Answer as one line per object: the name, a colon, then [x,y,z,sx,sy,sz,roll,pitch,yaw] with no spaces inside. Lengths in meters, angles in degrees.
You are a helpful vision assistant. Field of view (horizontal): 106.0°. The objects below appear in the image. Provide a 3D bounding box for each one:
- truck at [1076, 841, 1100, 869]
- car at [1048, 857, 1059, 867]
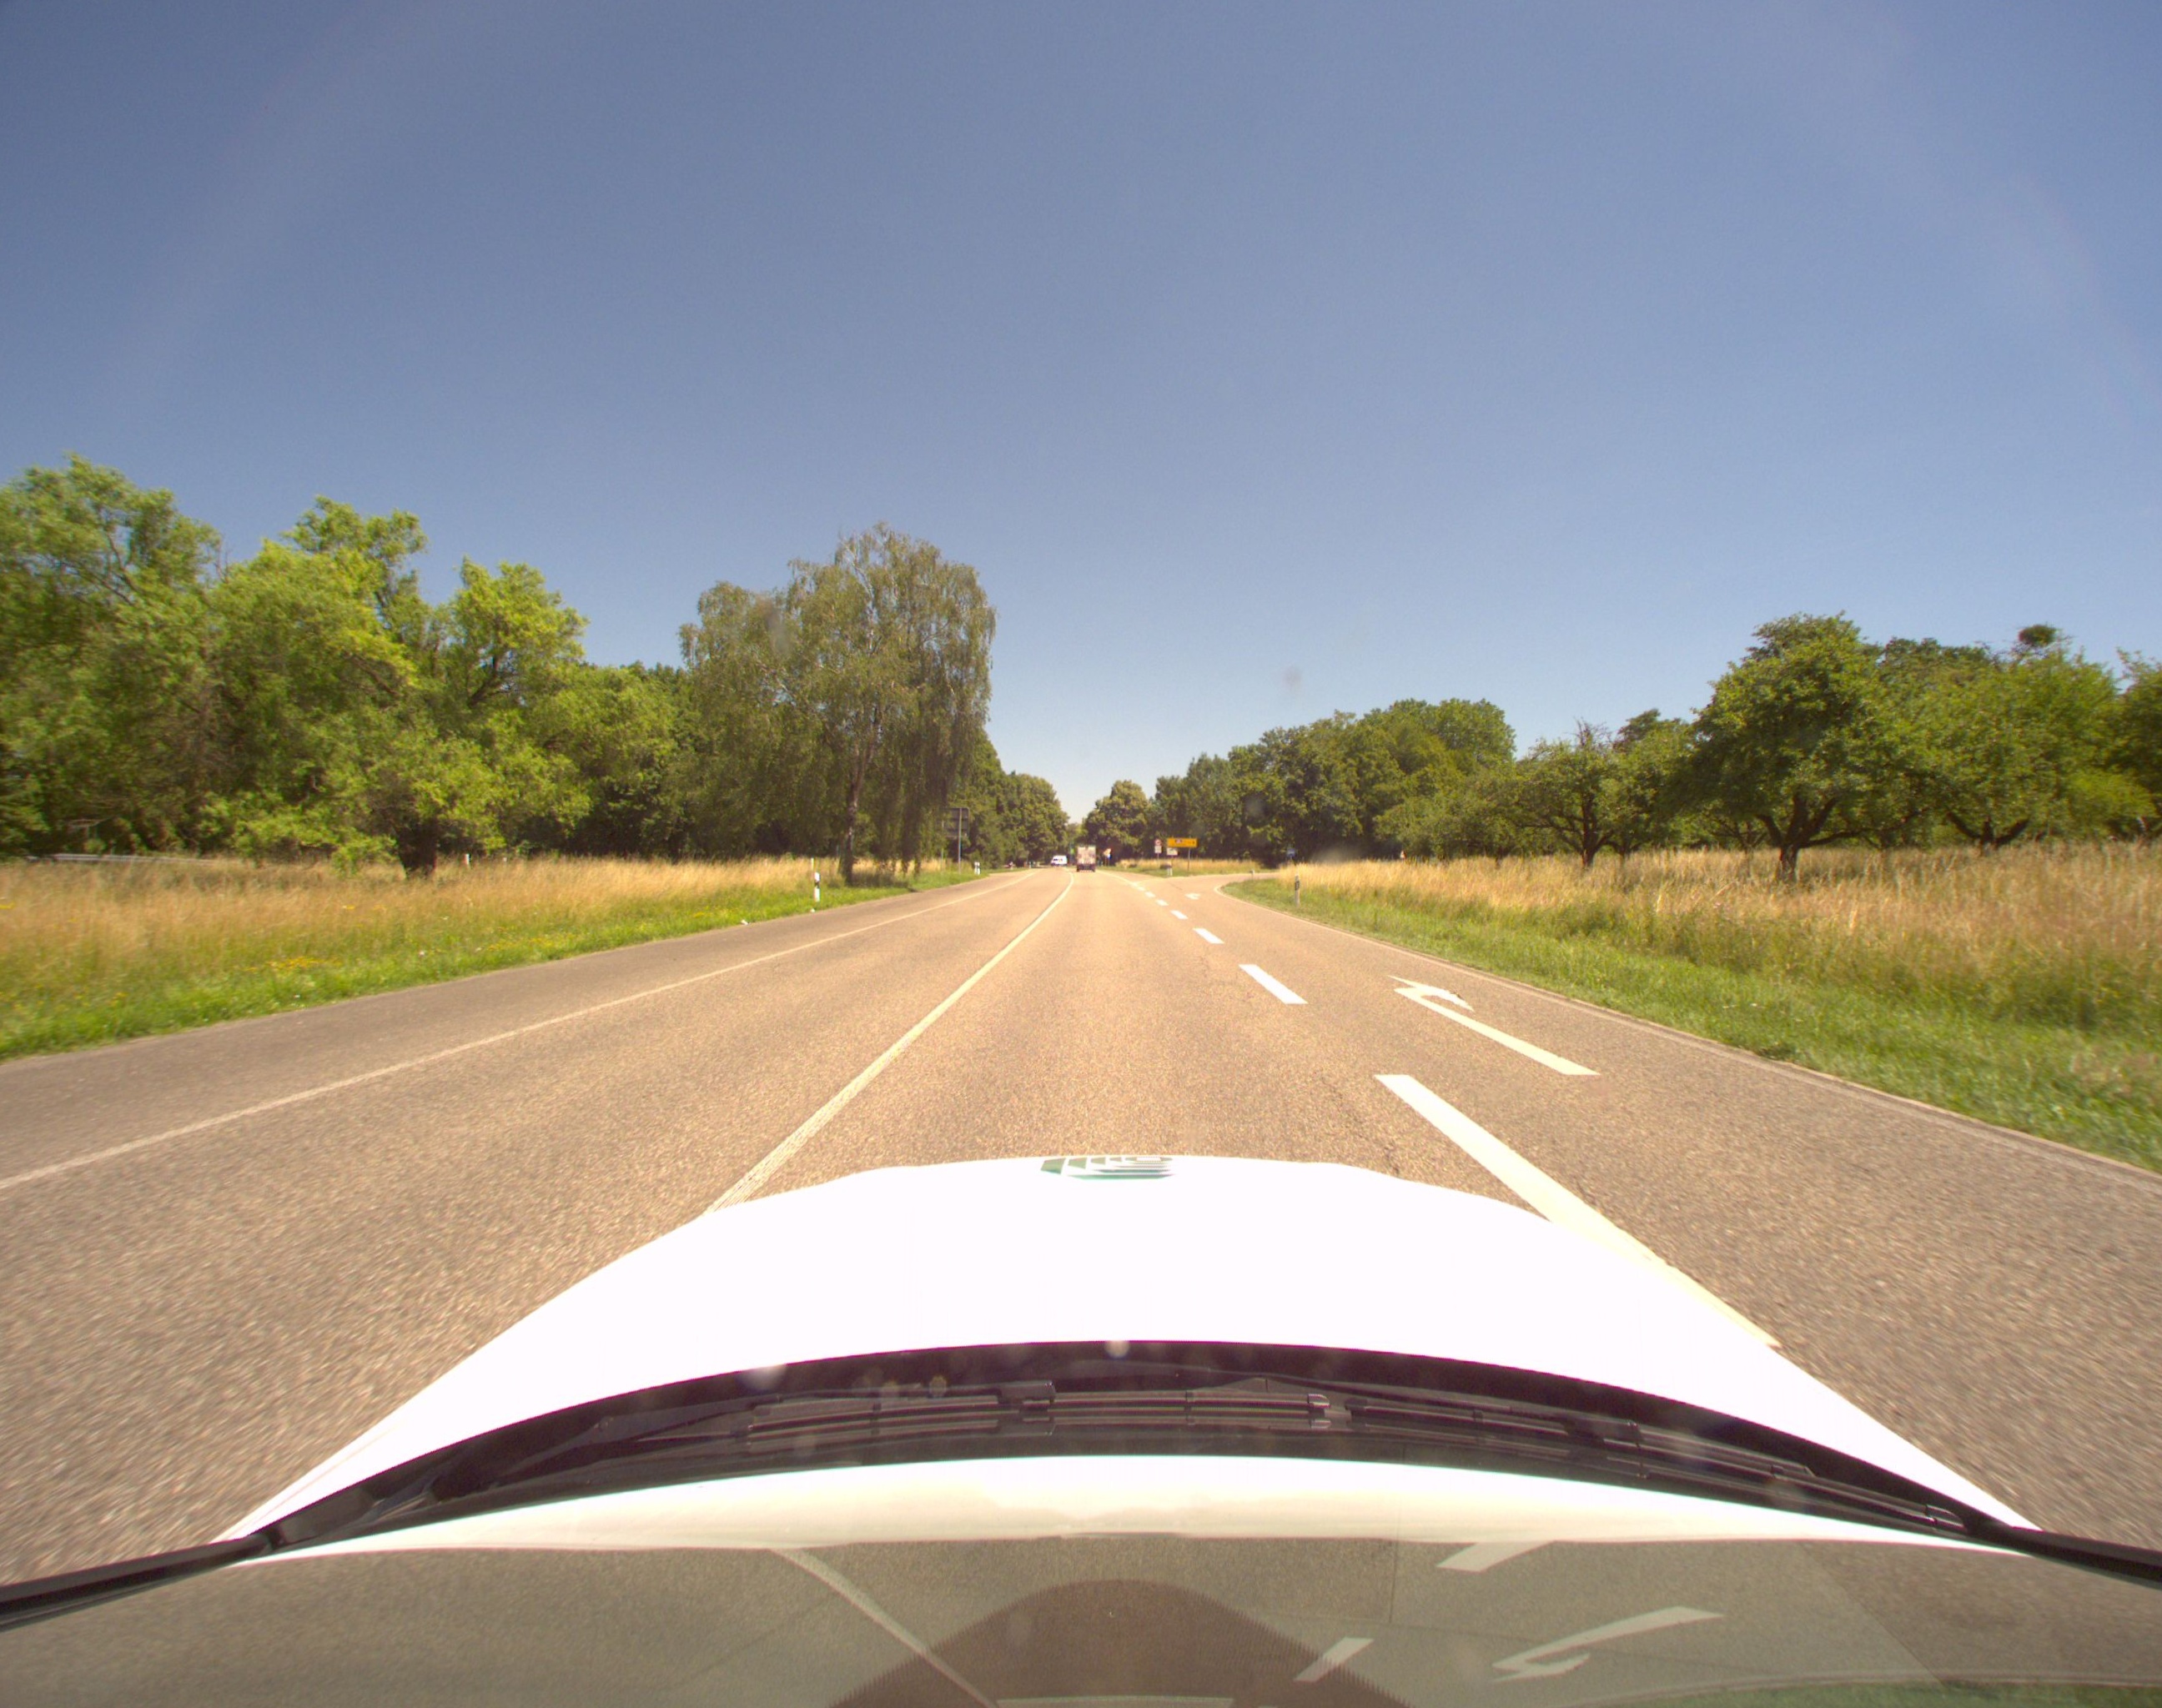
truck: [0.779,0.107,92.579,2.524,3.135,5.364,0,0,2]
car: [-7.096,2.165,212.450,2.064,2.628,6.791,0,-1,4]
